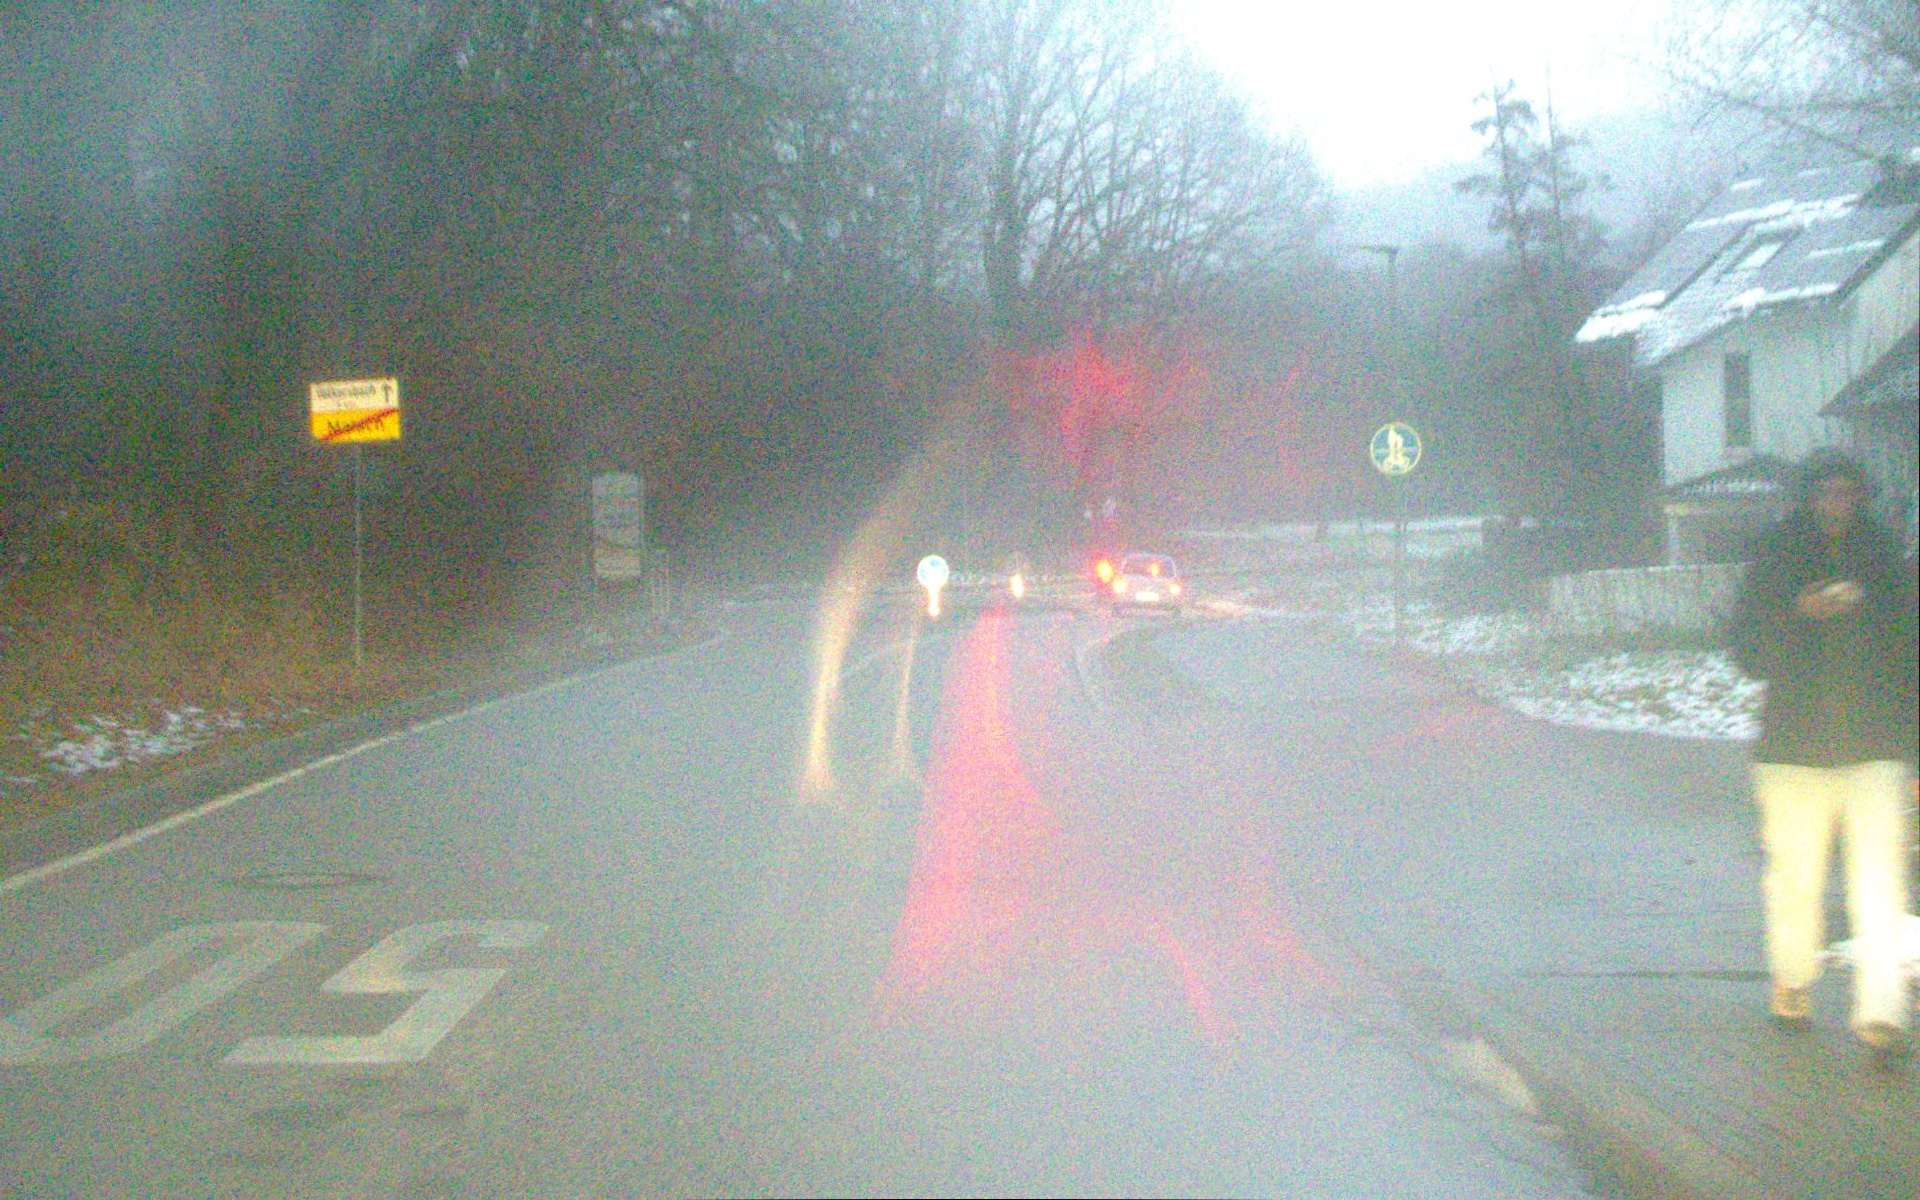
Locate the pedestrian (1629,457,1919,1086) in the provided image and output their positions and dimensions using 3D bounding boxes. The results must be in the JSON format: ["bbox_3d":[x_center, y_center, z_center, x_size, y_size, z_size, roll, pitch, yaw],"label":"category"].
[{"bbox_3d":[2.342,0.442,9.532,0.743,1.649,0.970,-1,1,-2],"label":"pedestrian"}]

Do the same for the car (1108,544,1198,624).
[{"bbox_3d":[4.506,-0.393,79.763,1.933,1.775,3.999,-1,1,5],"label":"car"}]

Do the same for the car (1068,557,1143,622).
[{"bbox_3d":[3.943,-0.313,92.466,1.933,1.670,4.000,-1,1,3],"label":"car"}]
